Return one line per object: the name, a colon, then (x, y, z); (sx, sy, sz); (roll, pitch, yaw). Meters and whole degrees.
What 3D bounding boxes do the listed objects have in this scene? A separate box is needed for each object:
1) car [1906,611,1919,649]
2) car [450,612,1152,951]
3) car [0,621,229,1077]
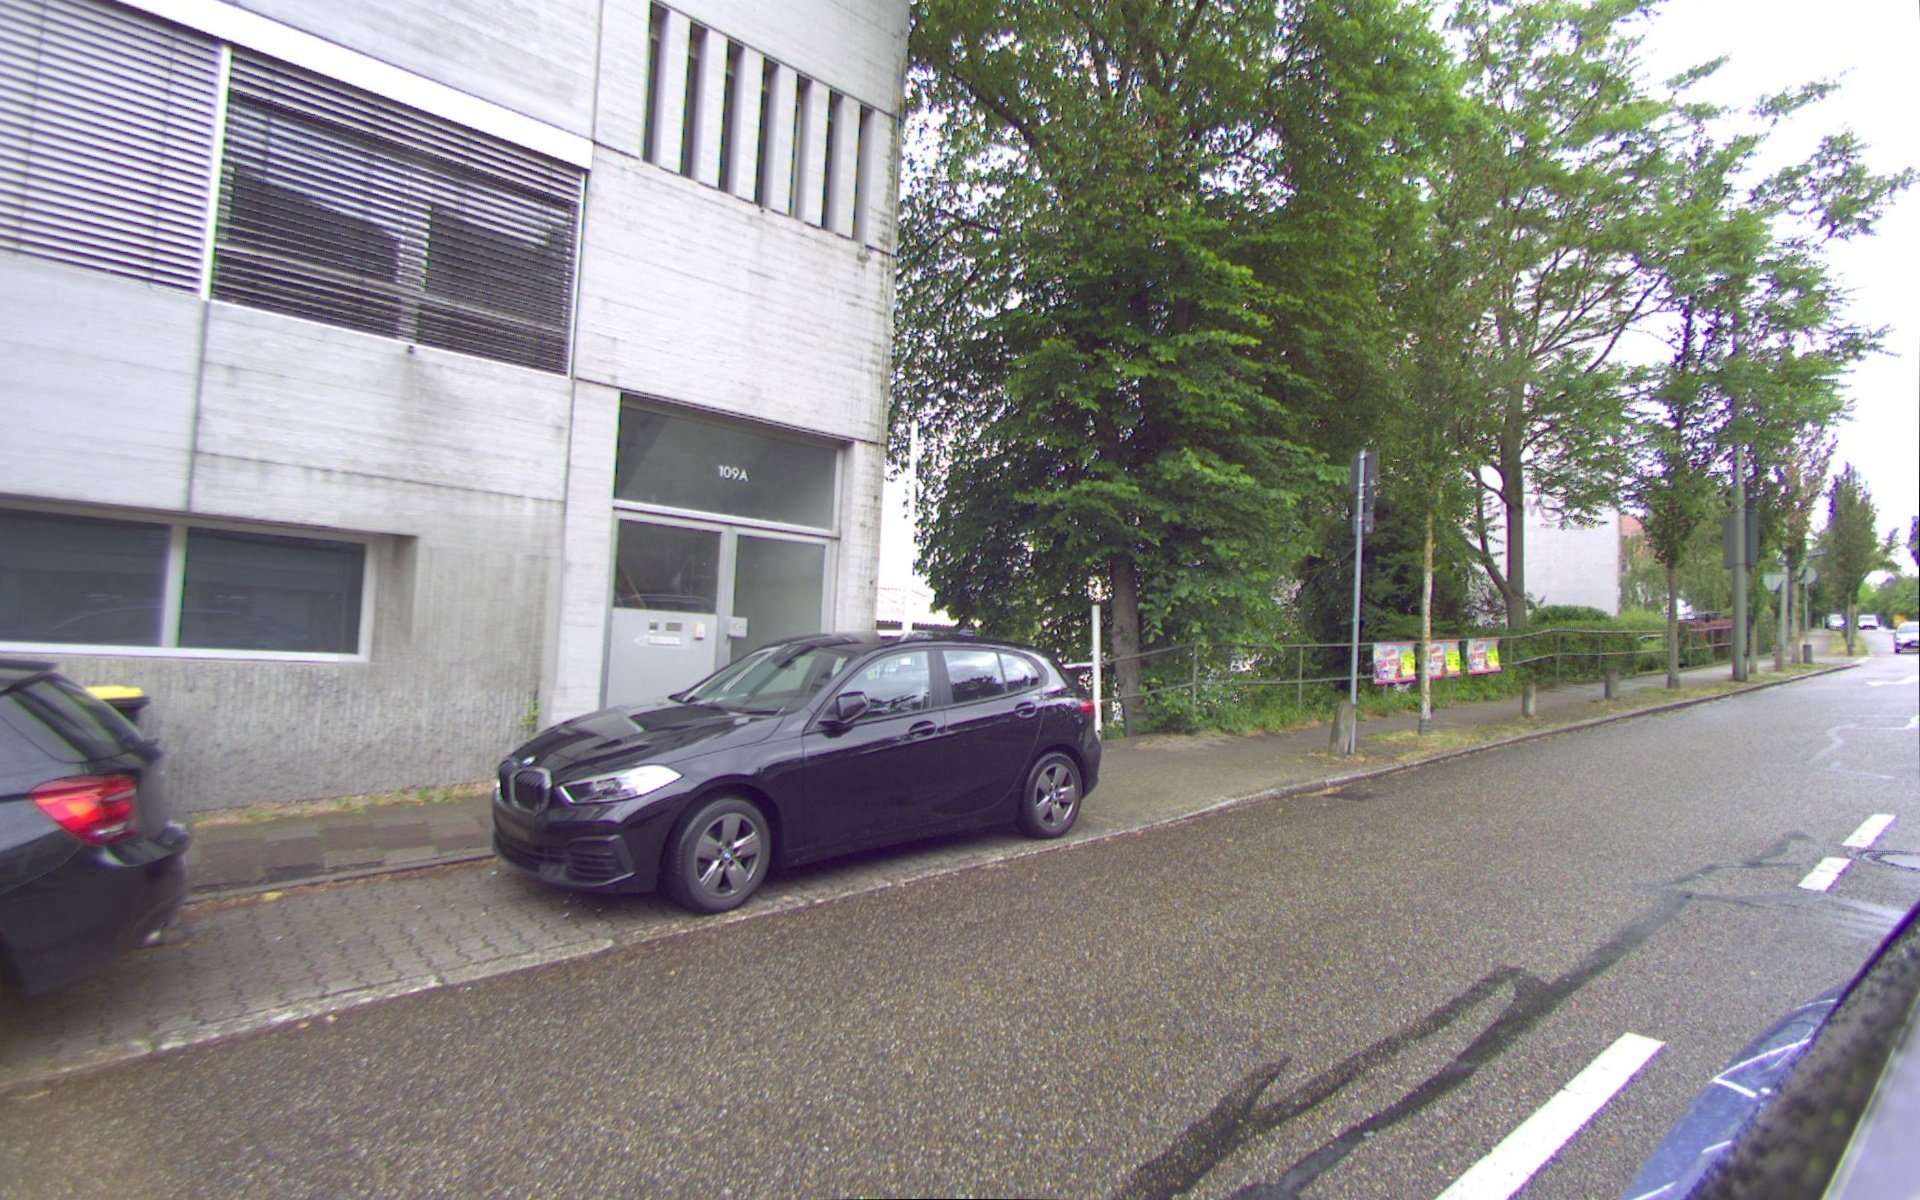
car: (48.504, 1.508, 50.401); (1.886, 1.741, 4.173); (2, 2, 42)
car: (-0.834, 0.871, 6.927); (4.367, 1.453, 1.996); (0, 2, -43)
car: (-4.899, 0.848, 3.167); (4.173, 1.466, 1.753); (0, 0, -38)
